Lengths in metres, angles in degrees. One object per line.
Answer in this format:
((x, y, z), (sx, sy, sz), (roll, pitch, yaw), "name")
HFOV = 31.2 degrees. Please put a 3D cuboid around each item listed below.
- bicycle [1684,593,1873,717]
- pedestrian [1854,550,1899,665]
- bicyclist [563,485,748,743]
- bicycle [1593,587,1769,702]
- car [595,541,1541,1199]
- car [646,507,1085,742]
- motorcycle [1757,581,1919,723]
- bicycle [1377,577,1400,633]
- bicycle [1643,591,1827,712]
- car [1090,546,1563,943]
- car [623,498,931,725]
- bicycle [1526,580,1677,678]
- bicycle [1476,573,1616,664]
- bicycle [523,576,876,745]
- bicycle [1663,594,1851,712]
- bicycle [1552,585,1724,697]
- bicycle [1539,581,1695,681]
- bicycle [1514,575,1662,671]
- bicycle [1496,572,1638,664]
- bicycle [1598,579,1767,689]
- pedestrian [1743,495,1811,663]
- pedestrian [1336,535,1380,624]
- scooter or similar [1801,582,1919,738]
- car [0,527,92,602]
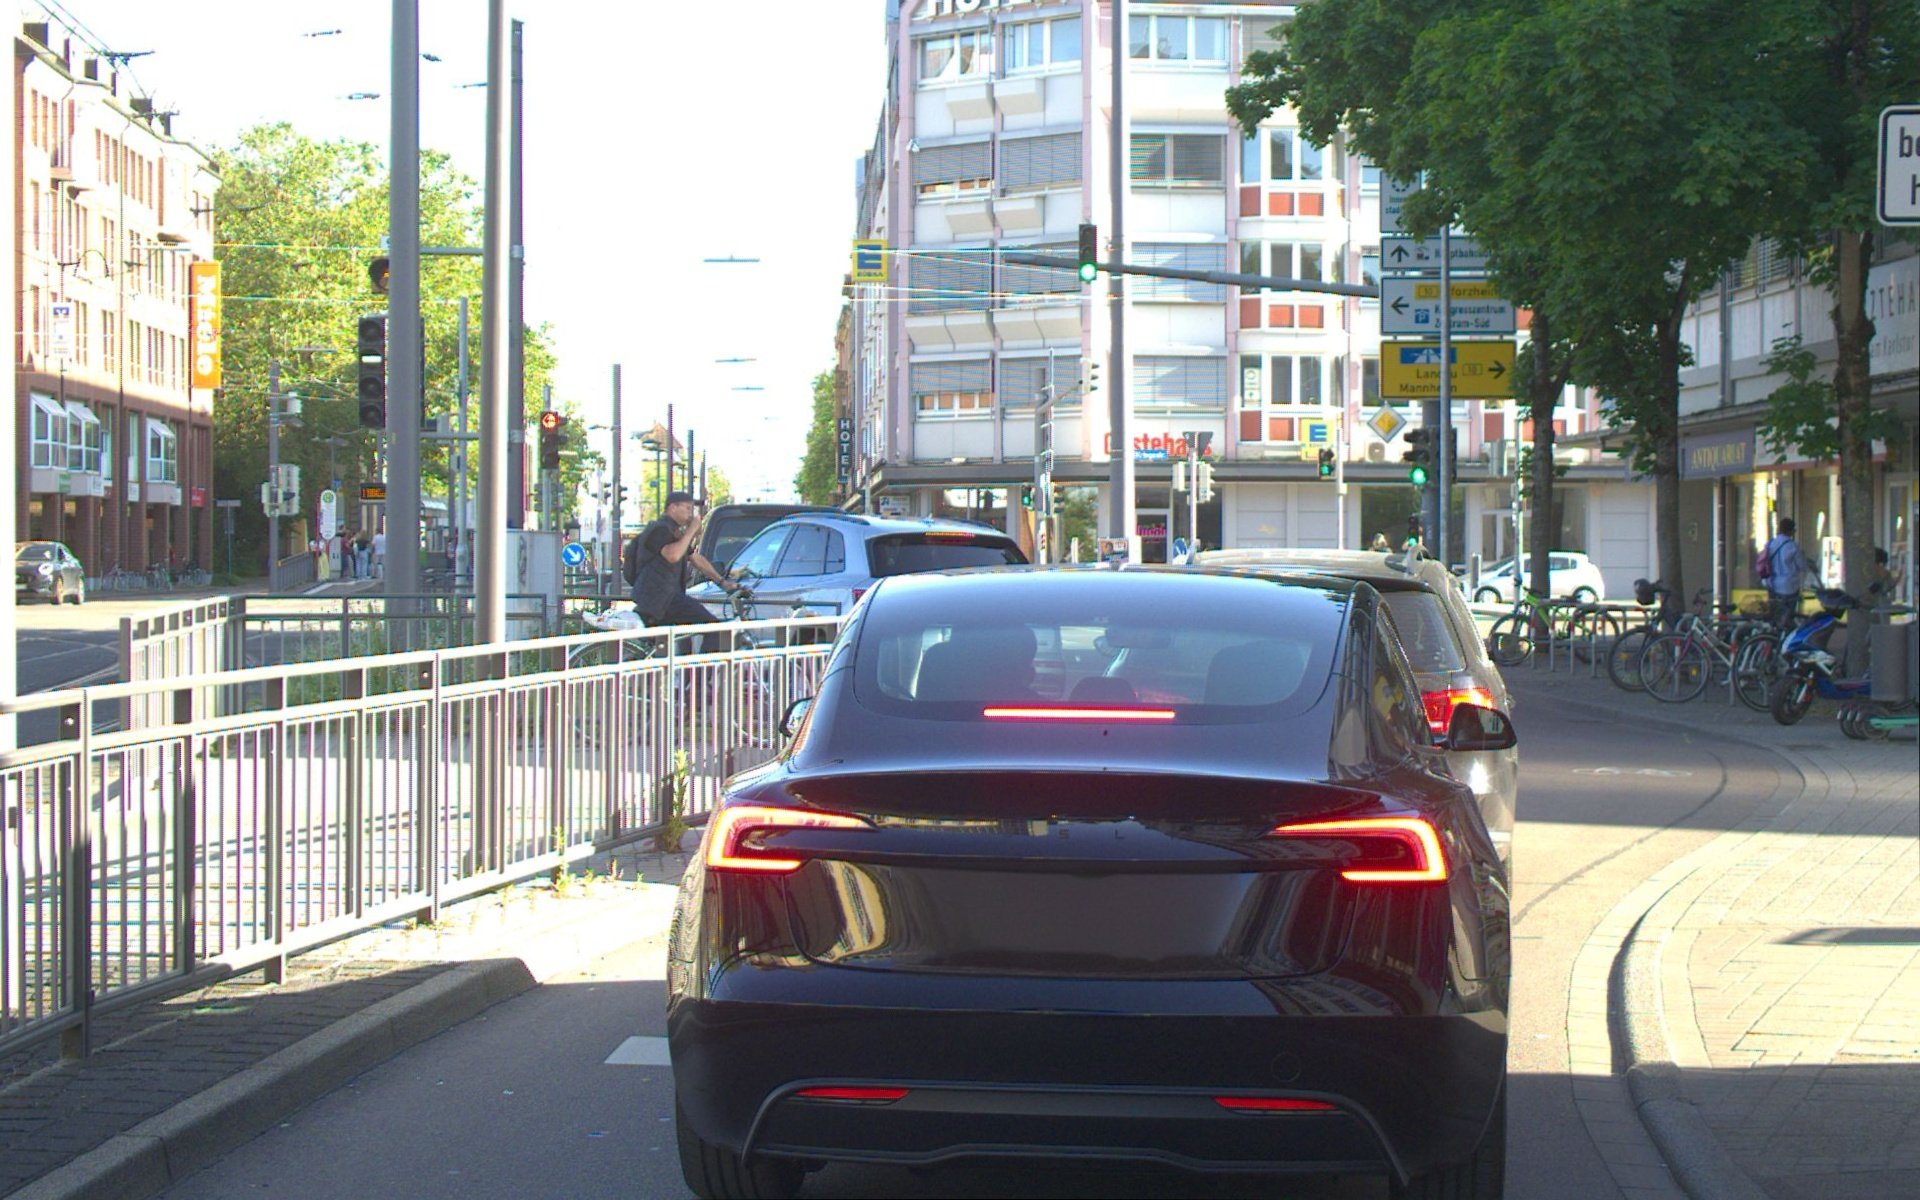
((7.385, 0.496, 31.022), (1.649, 1.095, 0.350), (1, 0, -10), "bicycle")
((10.841, 0.087, 40.668), (0.389, 1.339, 0.513), (1, 0, 2), "pedestrian")
((-1.972, 0.083, 22.234), (0.758, 1.623, 0.978), (0, 1, -39), "bicyclist")
((7.002, 0.434, 33.394), (1.649, 1.095, 0.350), (1, 0, -10), "bicycle")
((0.353, 0.604, 8.704), (1.829, 1.450, 3.999), (1, 1, 4), "car")
((-0.825, 0.150, 26.511), (1.883, 1.656, 4.159), (1, 1, -25), "car")
((7.715, 0.444, 29.258), (1.707, 1.169, 0.541), (1, 0, -2), "motorcycle")
((7.958, 0.092, 63.853), (0.332, 1.030, 1.256), (1, 0, 4), "bicycle")
((7.184, 0.477, 31.867), (1.649, 1.095, 0.350), (1, 0, -10), "bicycle")
((1.578, 0.510, 14.935), (1.751, 1.449, 3.999), (1, 1, 6), "car")
((-1.808, 0.078, 32.601), (1.993, 2.007, 4.001), (0, 1, -17), "car")
((7.332, 0.329, 39.322), (1.650, 1.095, 0.350), (1, 0, 1), "bicycle")
((7.234, 0.221, 42.474), (1.650, 1.095, 0.350), (1, 0, 1), "bicycle")
((-1.678, 0.384, 22.490), (2.329, 1.050, 0.631), (0, 1, -38), "bicycle")
((7.289, 0.485, 31.444), (1.649, 1.057, 0.350), (1, 0, -10), "bicycle")
((6.755, 0.409, 34.245), (1.649, 1.095, 0.350), (1, 0, -10), "bicycle")
((7.312, 0.343, 38.295), (1.650, 1.095, 0.350), (1, 0, 1), "bicycle")
((7.364, 0.269, 40.335), (1.650, 1.095, 0.350), (1, 0, 1), "bicycle")
((7.301, 0.212, 41.380), (1.650, 1.095, 0.350), (0, 1, 1), "bicycle")
((7.421, 0.347, 35.342), (1.650, 1.095, 0.350), (1, 0, 1), "bicycle")
((9.838, -0.257, 41.407), (0.662, 2.007, 0.579), (1, 0, 2), "pedestrian")
((7.414, -0.383, 64.093), (0.699, 1.656, 0.777), (1, 0, -1), "pedestrian")
((7.559, 0.473, 27.184), (1.644, 1.211, 0.644), (1, 0, 30), "scooter or similar")
((-21.836, -0.845, 81.525), (1.697, 1.725, 3.707), (1, 1, -3), "car")
